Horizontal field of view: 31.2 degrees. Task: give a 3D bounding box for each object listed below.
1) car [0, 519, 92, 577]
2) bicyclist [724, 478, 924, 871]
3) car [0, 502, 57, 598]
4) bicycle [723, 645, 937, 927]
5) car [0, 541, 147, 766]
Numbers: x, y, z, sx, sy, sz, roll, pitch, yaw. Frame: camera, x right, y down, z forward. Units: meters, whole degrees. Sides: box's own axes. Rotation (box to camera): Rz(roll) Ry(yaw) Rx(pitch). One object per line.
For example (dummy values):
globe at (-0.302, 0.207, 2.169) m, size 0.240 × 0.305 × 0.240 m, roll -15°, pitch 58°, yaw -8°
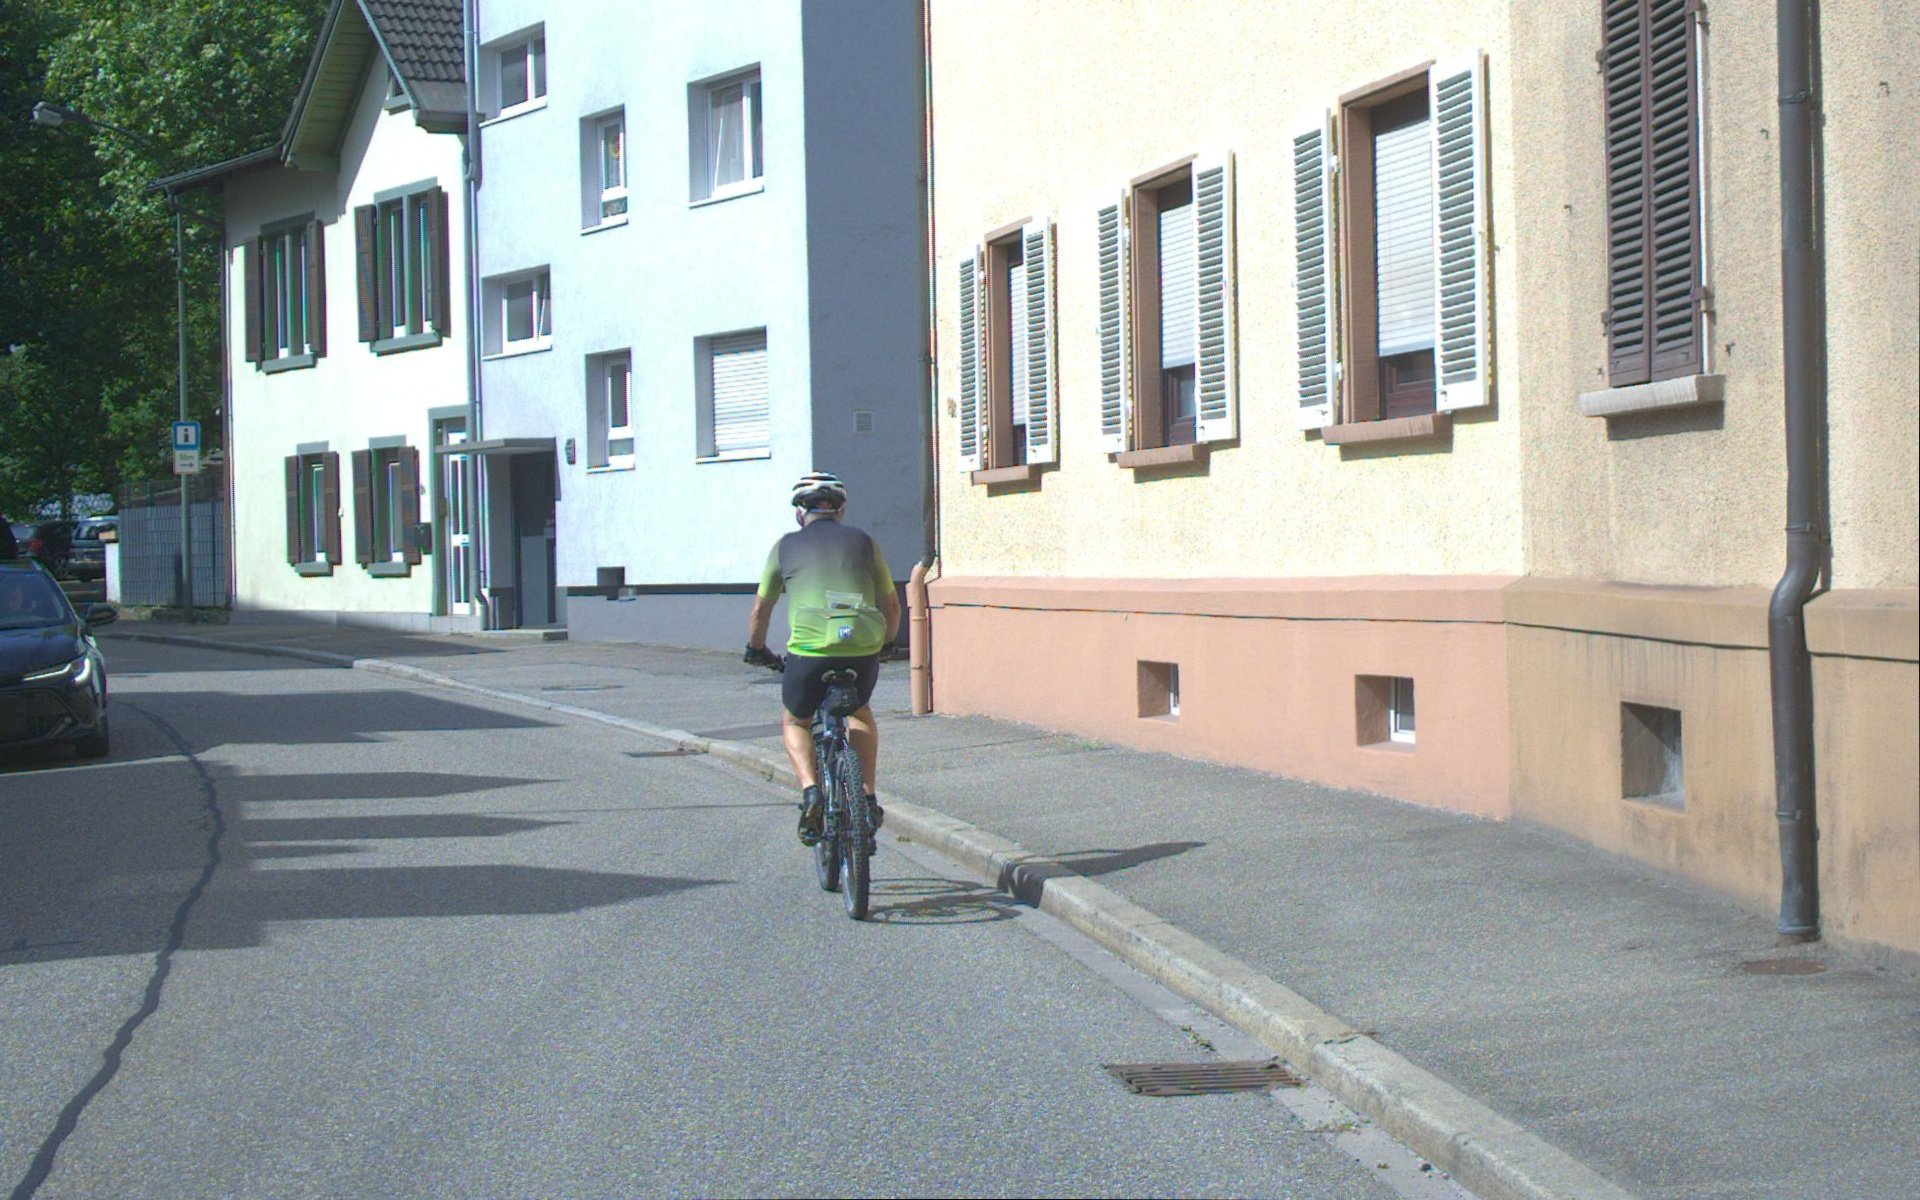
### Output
car at (-21.528, -1.220, 80.423) m, size 1.582 × 1.253 × 3.858 m, roll -3°, pitch 2°, yaw -26°
bicyclist at (-0.558, 0.286, 13.909) m, size 0.685 × 1.526 × 0.716 m, roll -2°, pitch 1°, yaw -8°
car at (-19.405, -1.002, 67.268) m, size 1.823 × 1.784 × 3.999 m, roll -3°, pitch 4°, yaw -39°
bicycle at (-0.549, 0.724, 13.955) m, size 0.698 × 1.032 × 1.471 m, roll 0°, pitch 1°, yaw -9°
car at (-6.981, 0.359, 25.119) m, size 1.658 × 1.444 × 4.260 m, roll -4°, pitch 2°, yaw -10°
